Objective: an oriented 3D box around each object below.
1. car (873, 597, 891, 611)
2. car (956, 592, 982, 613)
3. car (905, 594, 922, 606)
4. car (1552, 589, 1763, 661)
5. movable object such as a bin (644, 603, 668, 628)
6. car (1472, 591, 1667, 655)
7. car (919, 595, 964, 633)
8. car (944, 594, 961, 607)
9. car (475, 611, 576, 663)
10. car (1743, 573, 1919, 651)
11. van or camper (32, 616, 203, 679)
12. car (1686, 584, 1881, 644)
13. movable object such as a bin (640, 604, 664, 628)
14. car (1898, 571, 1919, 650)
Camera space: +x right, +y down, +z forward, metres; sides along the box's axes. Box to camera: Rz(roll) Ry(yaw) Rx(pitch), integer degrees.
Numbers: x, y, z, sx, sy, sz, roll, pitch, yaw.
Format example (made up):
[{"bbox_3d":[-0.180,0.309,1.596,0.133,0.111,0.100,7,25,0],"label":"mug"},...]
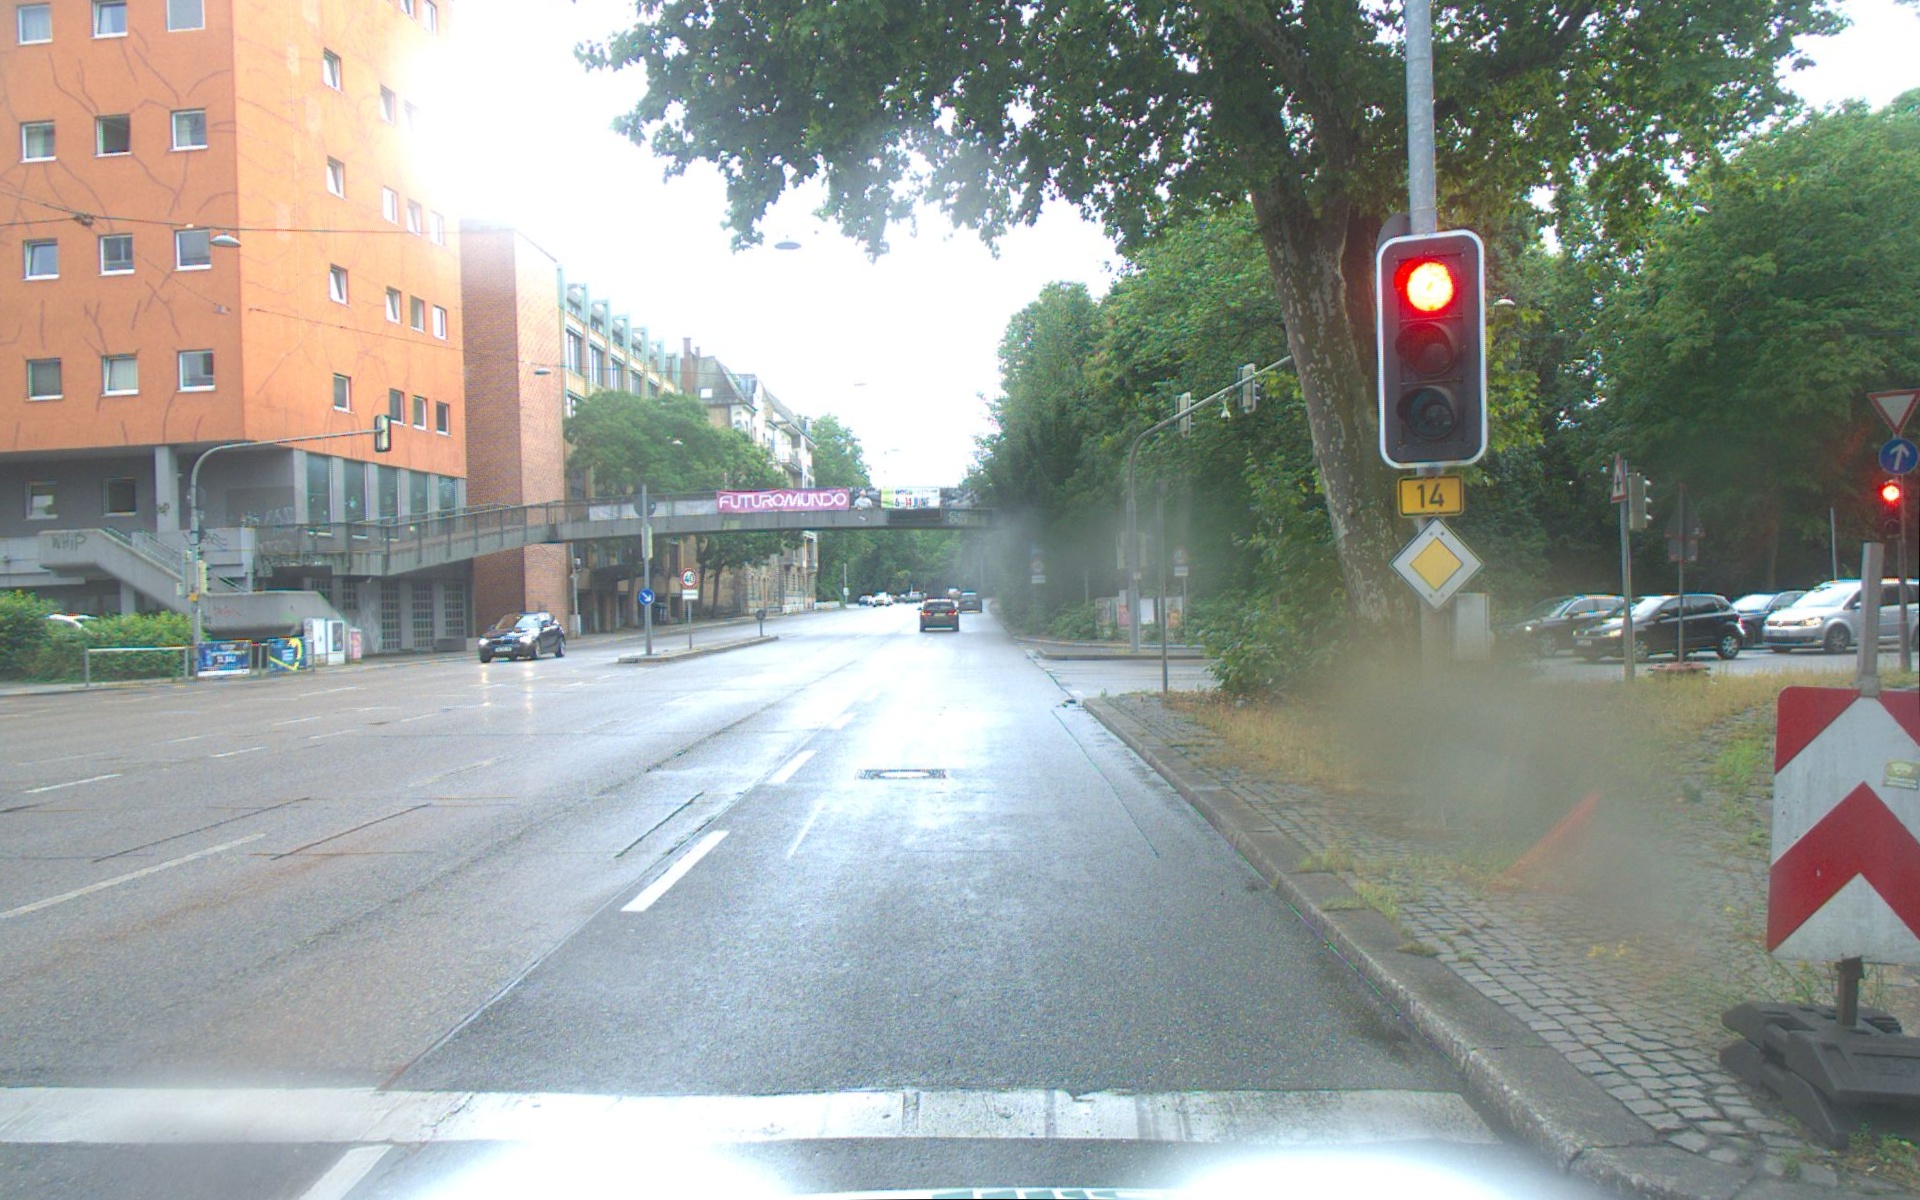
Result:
[{"bbox_3d":[-9.228,0.471,195.914,1.850,1.638,4.457,-1,0,2],"label":"car"},{"bbox_3d":[0.646,0.159,121.588,1.805,1.478,3.776,1,0,-1],"label":"car"},{"bbox_3d":[-6.799,0.015,241.037,1.856,1.638,4.444,-1,0,-11],"label":"car"},{"bbox_3d":[15.378,0.555,36.528,4.119,1.486,1.785,1,0,-17],"label":"car"},{"bbox_3d":[-19.900,1.011,108.226,1.272,1.545,1.214,-1,0,1],"label":"movable object such as a bin"},{"bbox_3d":[14.824,0.555,40.264,4.131,1.466,1.941,1,0,-17],"label":"car"},{"bbox_3d":[-0.826,0.628,75.571,1.963,1.672,4.375,-1,0,-1],"label":"car"},{"bbox_3d":[-1.076,0.048,226.935,1.853,1.638,4.450,-1,0,-6],"label":"car"},{"bbox_3d":[-13.247,1.124,50.634,1.650,1.444,4.216,-2,-1,5],"label":"car"},{"bbox_3d":[20.629,0.287,38.525,4.129,1.709,1.898,1,0,-17],"label":"car"},{"bbox_3d":[-24.081,1.332,47.332,3.902,1.656,1.915,-1,0,5],"label":"van or camper"},{"bbox_3d":[20.812,0.361,41.828,4.361,1.427,1.821,1,0,-17],"label":"car"},{"bbox_3d":[-19.909,1.034,106.819,1.256,1.545,1.273,-1,0,1],"label":"movable object such as a bin"},{"bbox_3d":[22.939,0.260,36.031,4.200,1.709,1.942,1,0,-15],"label":"car"}]
